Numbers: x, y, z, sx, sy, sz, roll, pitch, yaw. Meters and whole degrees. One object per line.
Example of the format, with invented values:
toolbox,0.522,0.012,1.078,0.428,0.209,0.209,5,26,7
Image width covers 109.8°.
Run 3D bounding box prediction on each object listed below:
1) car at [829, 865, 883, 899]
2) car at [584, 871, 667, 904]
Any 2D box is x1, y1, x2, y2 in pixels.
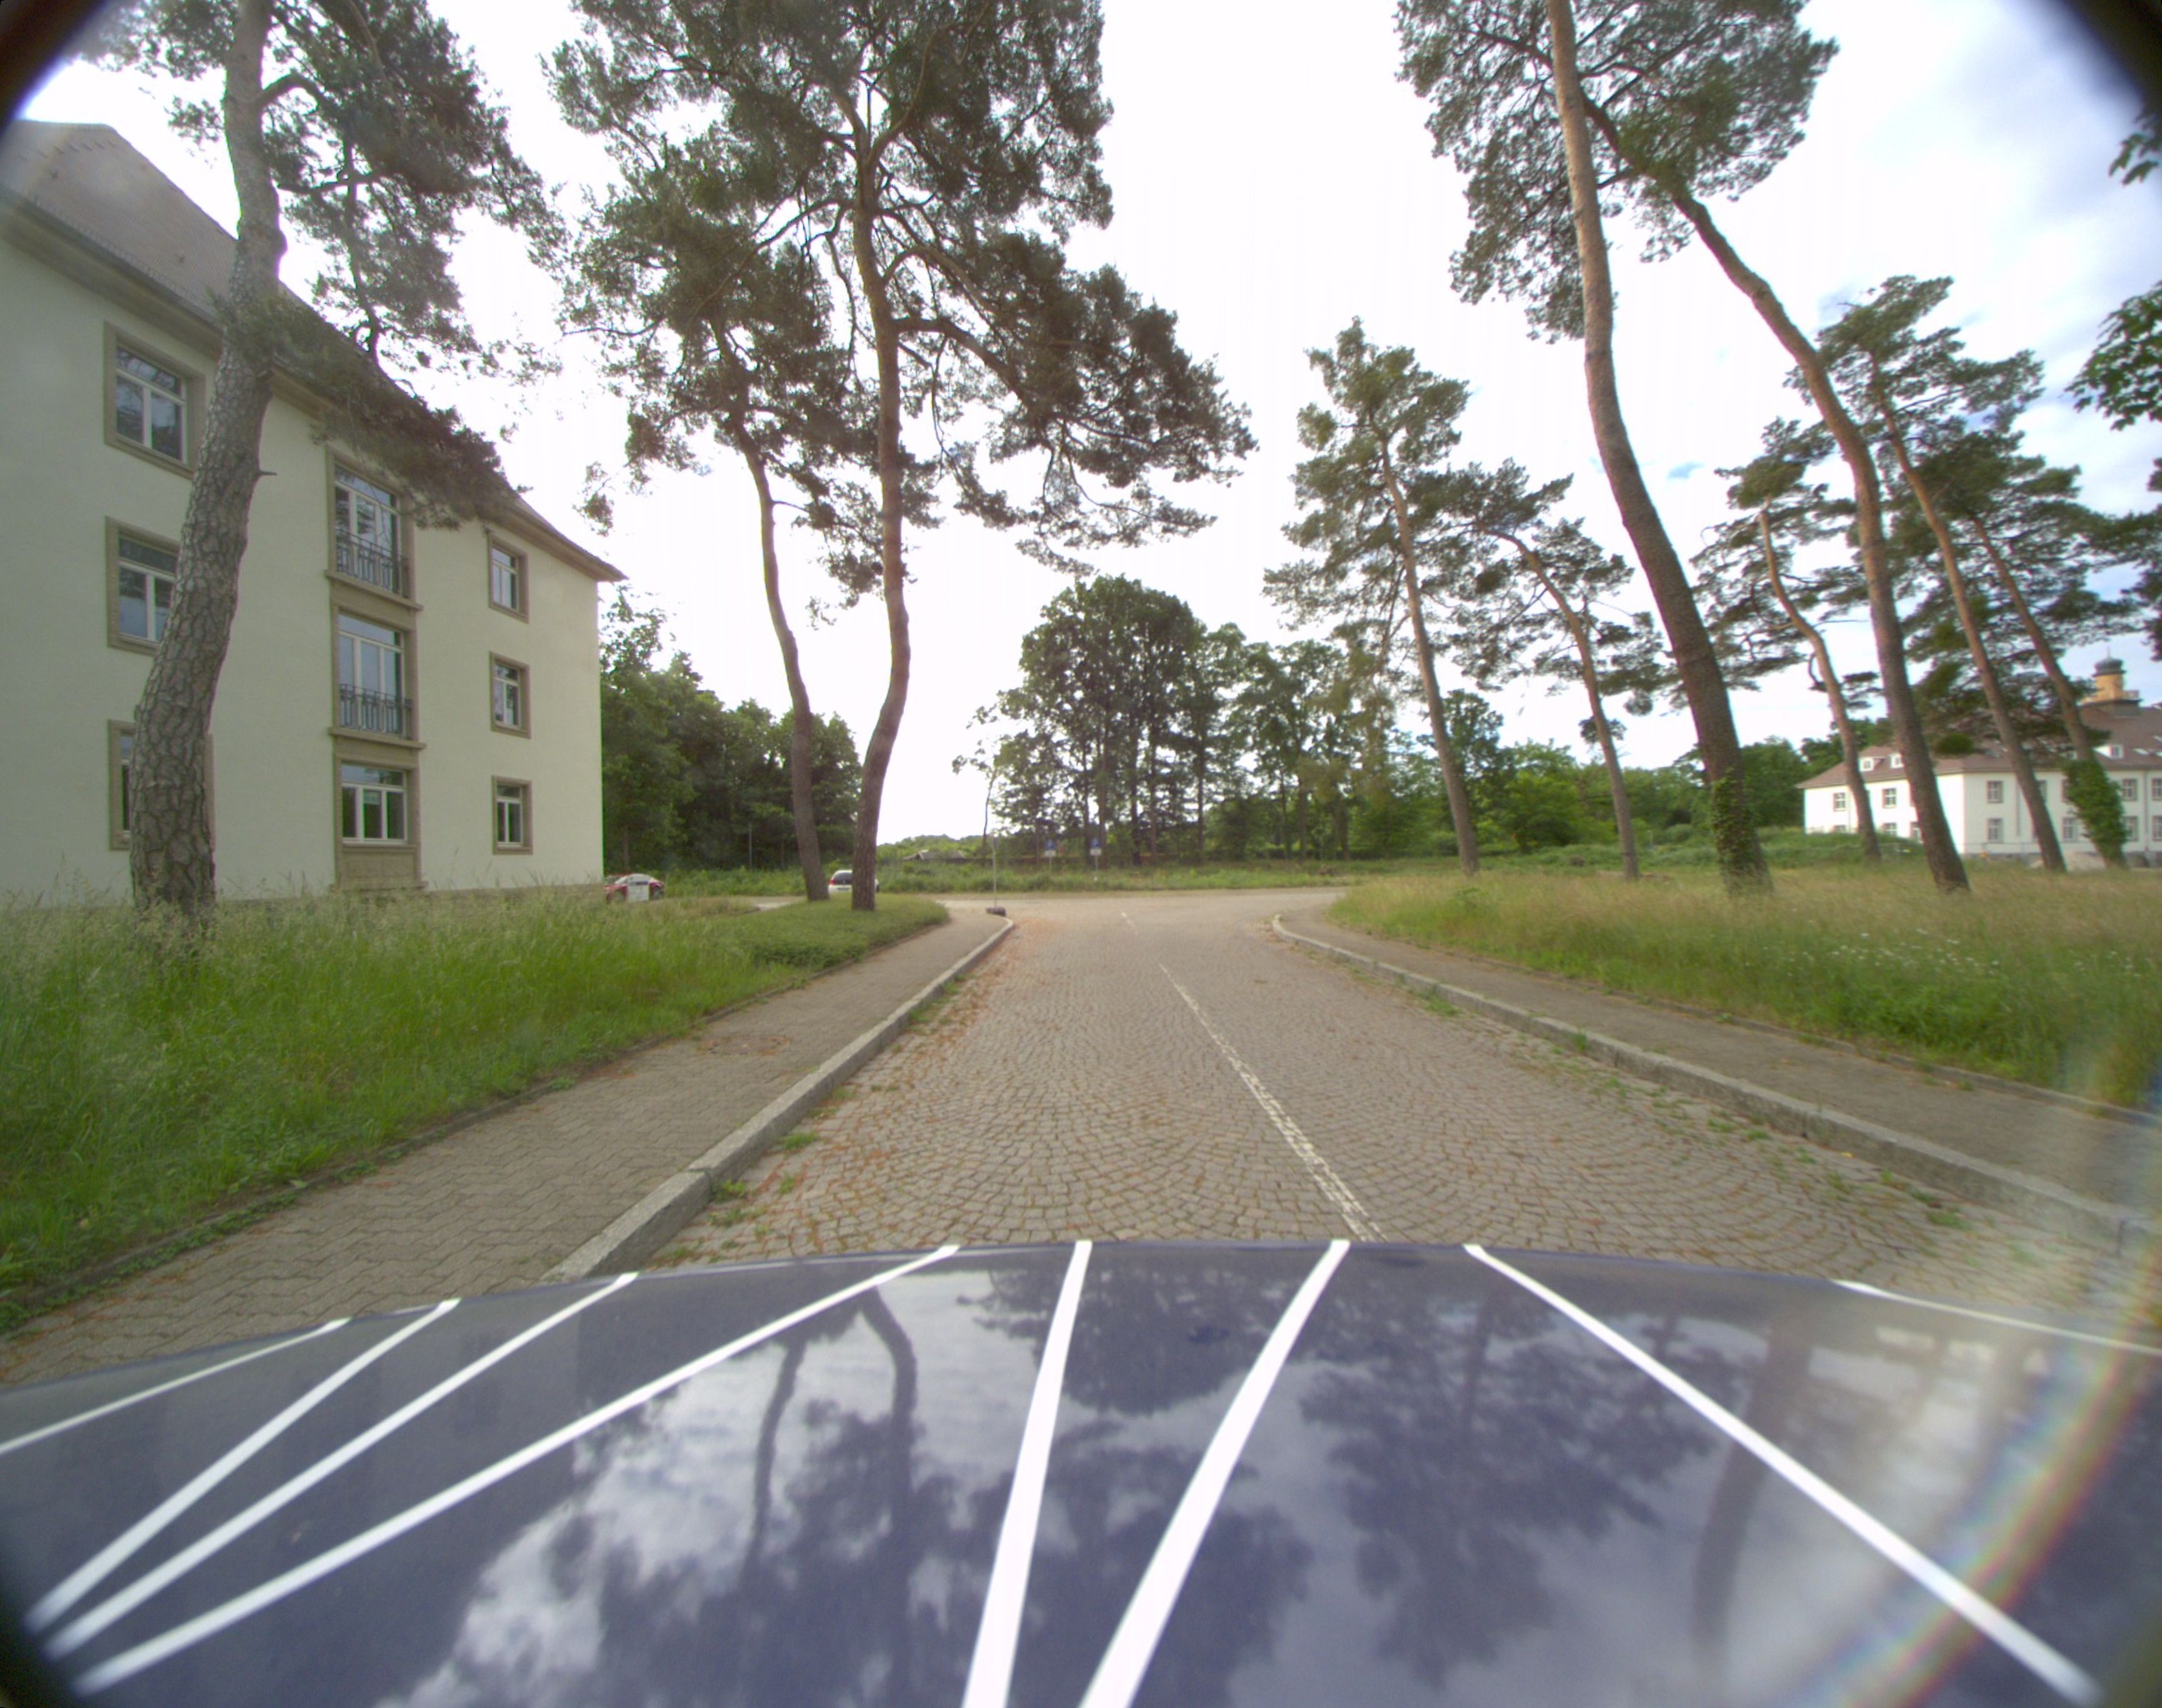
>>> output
car,-11.126,1.374,37.844,1.641,1.426,3.277,-1,2,1
car,-22.430,1.612,37.626,1.641,1.321,3.999,-1,2,1
